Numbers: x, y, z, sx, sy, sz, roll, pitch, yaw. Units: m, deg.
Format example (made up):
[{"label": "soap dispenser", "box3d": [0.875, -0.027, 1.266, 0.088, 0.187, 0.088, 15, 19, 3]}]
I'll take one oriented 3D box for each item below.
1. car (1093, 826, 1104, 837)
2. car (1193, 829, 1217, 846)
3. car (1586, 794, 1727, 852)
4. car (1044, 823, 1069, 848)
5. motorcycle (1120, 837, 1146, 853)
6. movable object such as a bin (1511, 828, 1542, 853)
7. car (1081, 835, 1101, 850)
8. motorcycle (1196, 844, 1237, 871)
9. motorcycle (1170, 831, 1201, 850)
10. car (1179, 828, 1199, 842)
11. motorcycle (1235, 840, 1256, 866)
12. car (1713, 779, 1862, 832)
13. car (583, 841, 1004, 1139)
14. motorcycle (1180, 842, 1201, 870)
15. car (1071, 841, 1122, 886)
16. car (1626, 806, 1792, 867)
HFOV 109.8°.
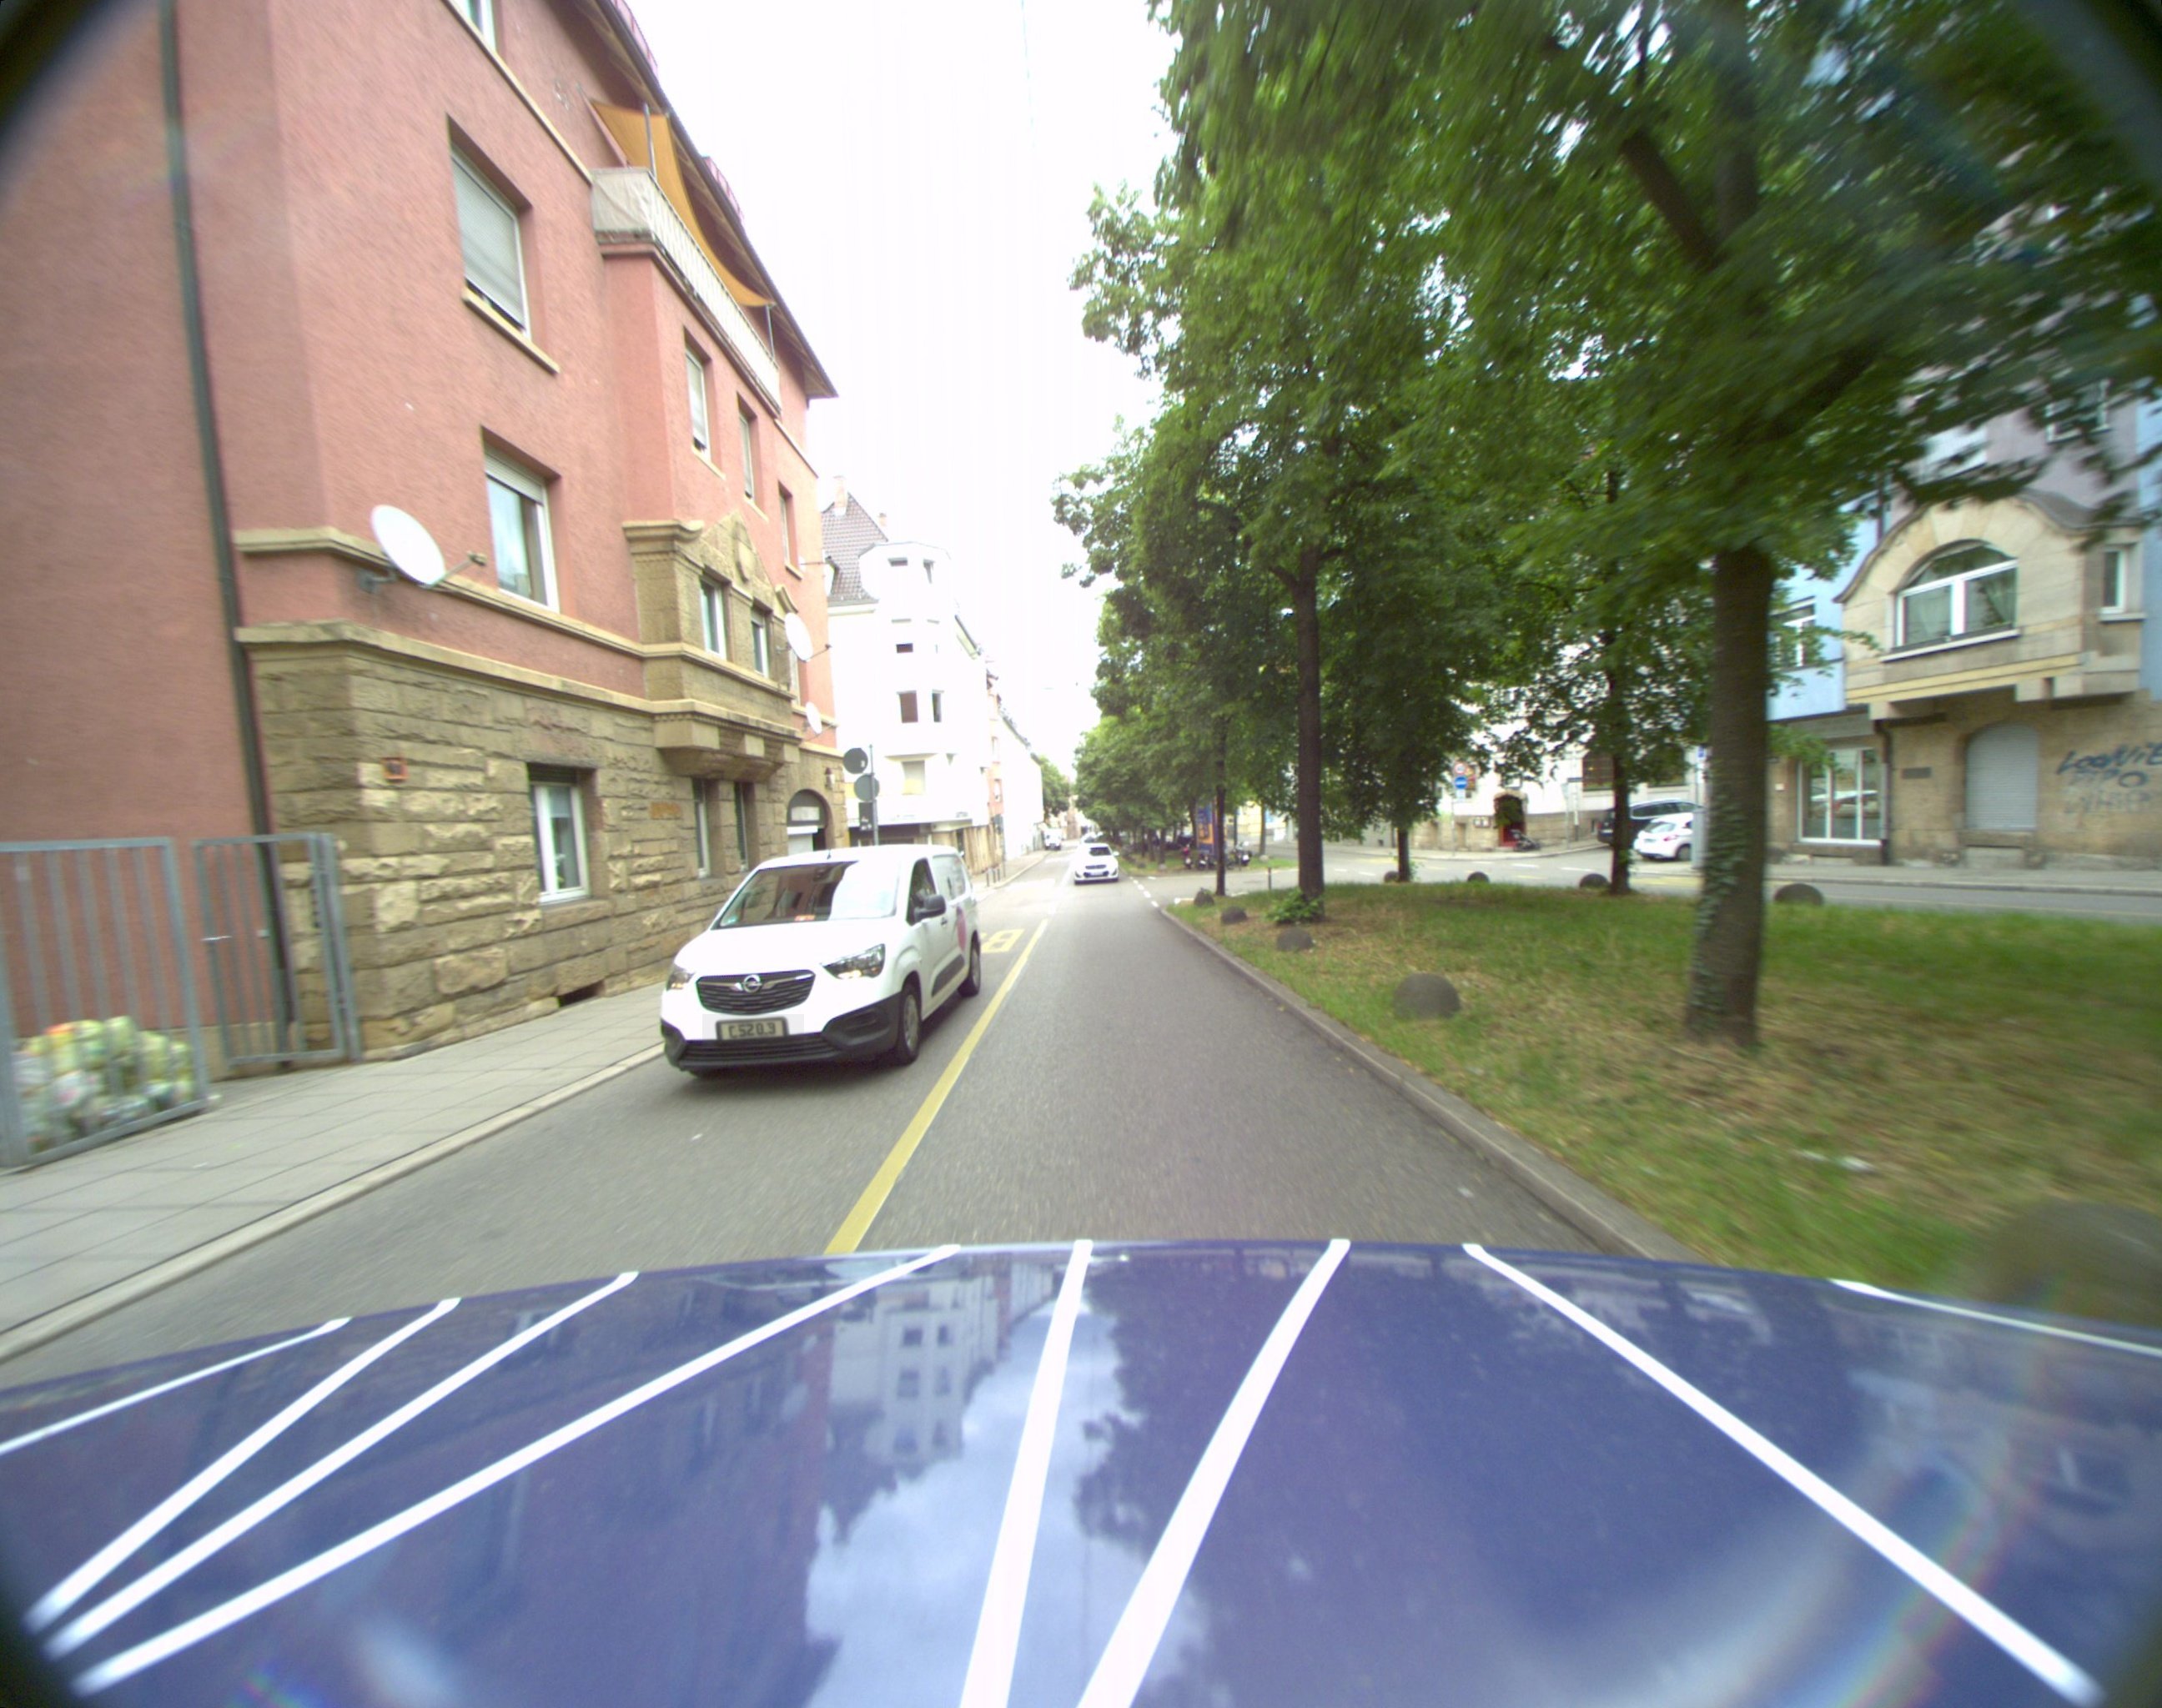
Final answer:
[{"label": "car", "box3d": [5.459, -6.914, 232.529, 3.026, 3.045, 7.165, -3, 3, -1]}, {"label": "car", "box3d": [12.855, -1.730, 78.814, 1.818, 1.554, 4.415, -3, 1, 1]}, {"label": "car", "box3d": [22.661, -1.215, 30.040, 4.007, 1.690, 1.871, -8, 2, 1]}, {"label": "car", "box3d": [-3.164, -2.509, 100.016, 3.026, 3.045, 7.165, -3, 3, -1]}, {"label": "motorcycle", "box3d": [4.138, -0.721, 60.596, 2.041, 1.126, 0.453, -4, 4, 1]}, {"label": "movable object such as a bin", "box3d": [19.366, -0.600, 33.045, 0.888, 0.988, 0.668, -6, 2, -1]}, {"label": "car", "box3d": [1.030, -1.220, 80.141, 1.854, 1.361, 4.279, -5, 2, 0]}, {"label": "motorcycle", "box3d": [6.167, 0.174, 34.556, 1.735, 1.090, 0.550, -4, 4, 4]}, {"label": "motorcycle", "box3d": [8.790, -1.157, 63.753, 2.424, 1.475, 0.963, -2, 4, 1]}, {"label": "car", "box3d": [12.977, -2.264, 91.844, 1.818, 1.554, 4.253, -3, 1, 1]}, {"label": "motorcycle", "box3d": [7.814, -0.039, 36.128, 0.750, 1.068, 1.851, -3, 4, 8]}, {"label": "car", "box3d": [27.948, -1.893, 30.163, 3.996, 1.502, 1.800, -8, 2, 4]}, {"label": "car", "box3d": [-2.206, 0.896, 7.643, 1.853, 1.815, 5.020, -4, 2, 5]}, {"label": "motorcycle", "box3d": [5.214, 0.088, 36.279, 0.888, 1.090, 2.481, -3, 4, 8]}, {"label": "car", "box3d": [0.586, 0.336, 32.089, 1.854, 1.595, 4.561, -3, 2, -1]}, {"label": "car", "box3d": [20.984, -0.627, 25.502, 4.007, 1.462, 1.870, -8, 4, -2]}]
